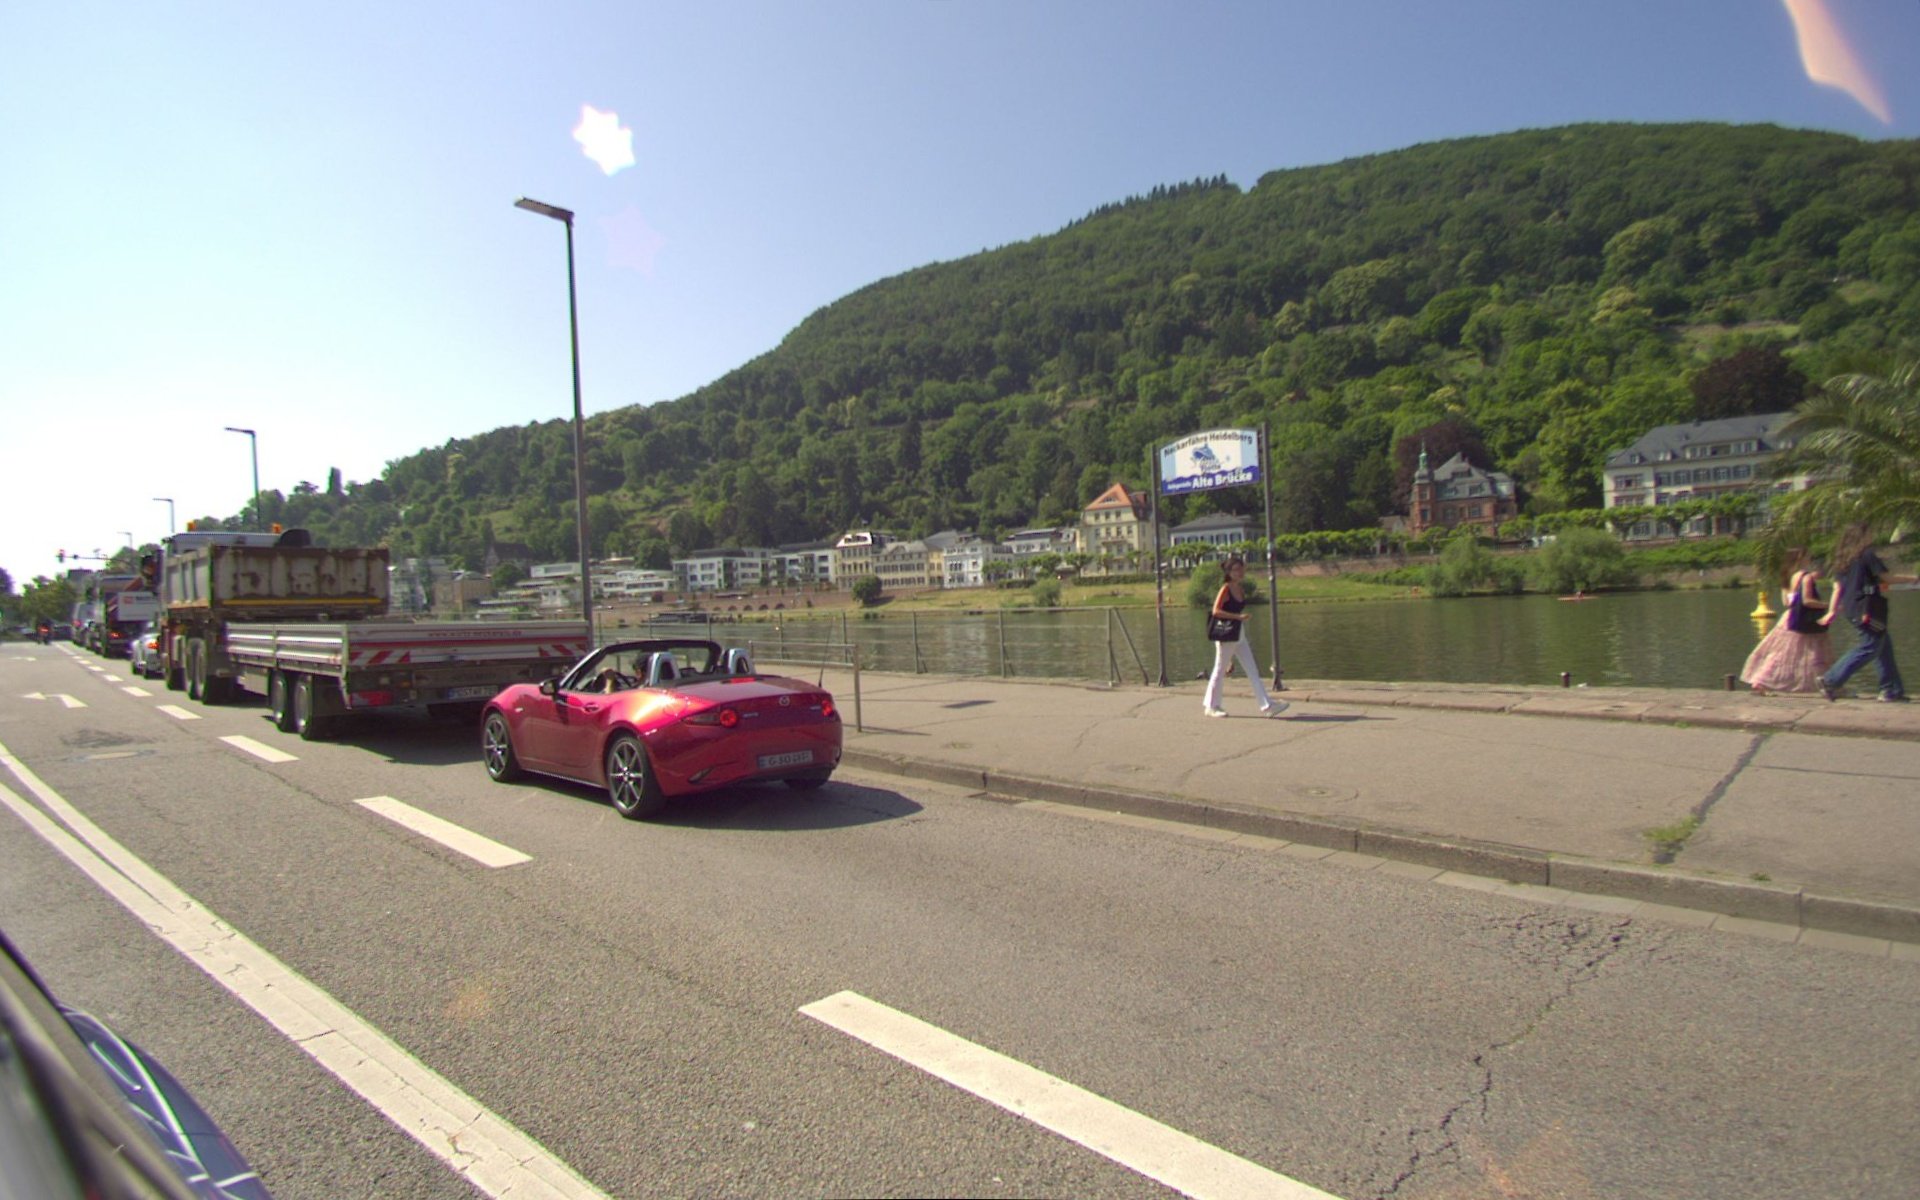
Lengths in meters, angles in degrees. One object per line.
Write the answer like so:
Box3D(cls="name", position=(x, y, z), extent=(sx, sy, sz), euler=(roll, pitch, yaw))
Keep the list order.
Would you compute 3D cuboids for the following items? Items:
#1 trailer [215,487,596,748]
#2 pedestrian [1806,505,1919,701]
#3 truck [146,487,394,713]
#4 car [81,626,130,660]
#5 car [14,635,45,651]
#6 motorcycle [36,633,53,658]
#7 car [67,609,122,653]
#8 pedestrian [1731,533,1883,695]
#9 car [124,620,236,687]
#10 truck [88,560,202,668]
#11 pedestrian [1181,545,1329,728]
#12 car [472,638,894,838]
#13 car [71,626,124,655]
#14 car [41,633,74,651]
Box3D(cls="trailer", position=(-7.595, 0.235, 13.333), extent=(2.666, 2.550, 6.952), euler=(1, -1, -44))
Box3D(cls="pedestrian", position=(8.519, 0.020, 9.268), extent=(0.838, 1.704, 0.793), euler=(-2, -1, 12))
Box3D(cls="truck", position=(-13.409, 0.083, 19.325), extent=(2.611, 3.483, 7.877), euler=(1, -2, -44))
Box3D(cls="car", position=(-39.241, 1.959, 46.446), extent=(1.637, 1.447, 4.086), euler=(-1, -1, -42))
Box3D(cls="car", position=(-90.982, 4.173, 98.907), extent=(3.891, 1.447, 1.883), euler=(-2, 0, 43))
Box3D(cls="motorcycle", position=(-53.846, 2.666, 59.529), extent=(0.717, 1.397, 2.514), euler=(-1, -1, -42))
Box3D(cls="car", position=(-51.888, 1.891, 60.635), extent=(2.169, 2.545, 4.752), euler=(3, -3, -44))
Box3D(cls="pedestrian", position=(8.609, 0.160, 10.298), extent=(1.116, 1.545, 0.784), euler=(-2, -4, 44))
Box3D(cls="car", position=(-19.253, 1.253, 24.918), extent=(1.757, 1.454, 4.000), euler=(-1, -1, -44))
Box3D(cls="truck", position=(-30.729, 0.592, 37.922), extent=(2.610, 3.503, 11.119), euler=(-1, -1, -42))
Box3D(cls="pedestrian", position=(2.965, 0.346, 10.194), extent=(1.151, 1.714, 0.807), euler=(-2, 0, 44))
Box3D(cls="car", position=(-2.372, 0.924, 8.154), extent=(3.629, 1.203, 1.653), euler=(-2, -2, 44))
Box3D(cls="car", position=(-46.512, 2.183, 54.556), extent=(1.970, 1.429, 4.925), euler=(-1, -1, -43))
Box3D(cls="car", position=(-78.886, 3.643, 88.452), extent=(1.970, 1.463, 4.265), euler=(-2, 0, -44))
